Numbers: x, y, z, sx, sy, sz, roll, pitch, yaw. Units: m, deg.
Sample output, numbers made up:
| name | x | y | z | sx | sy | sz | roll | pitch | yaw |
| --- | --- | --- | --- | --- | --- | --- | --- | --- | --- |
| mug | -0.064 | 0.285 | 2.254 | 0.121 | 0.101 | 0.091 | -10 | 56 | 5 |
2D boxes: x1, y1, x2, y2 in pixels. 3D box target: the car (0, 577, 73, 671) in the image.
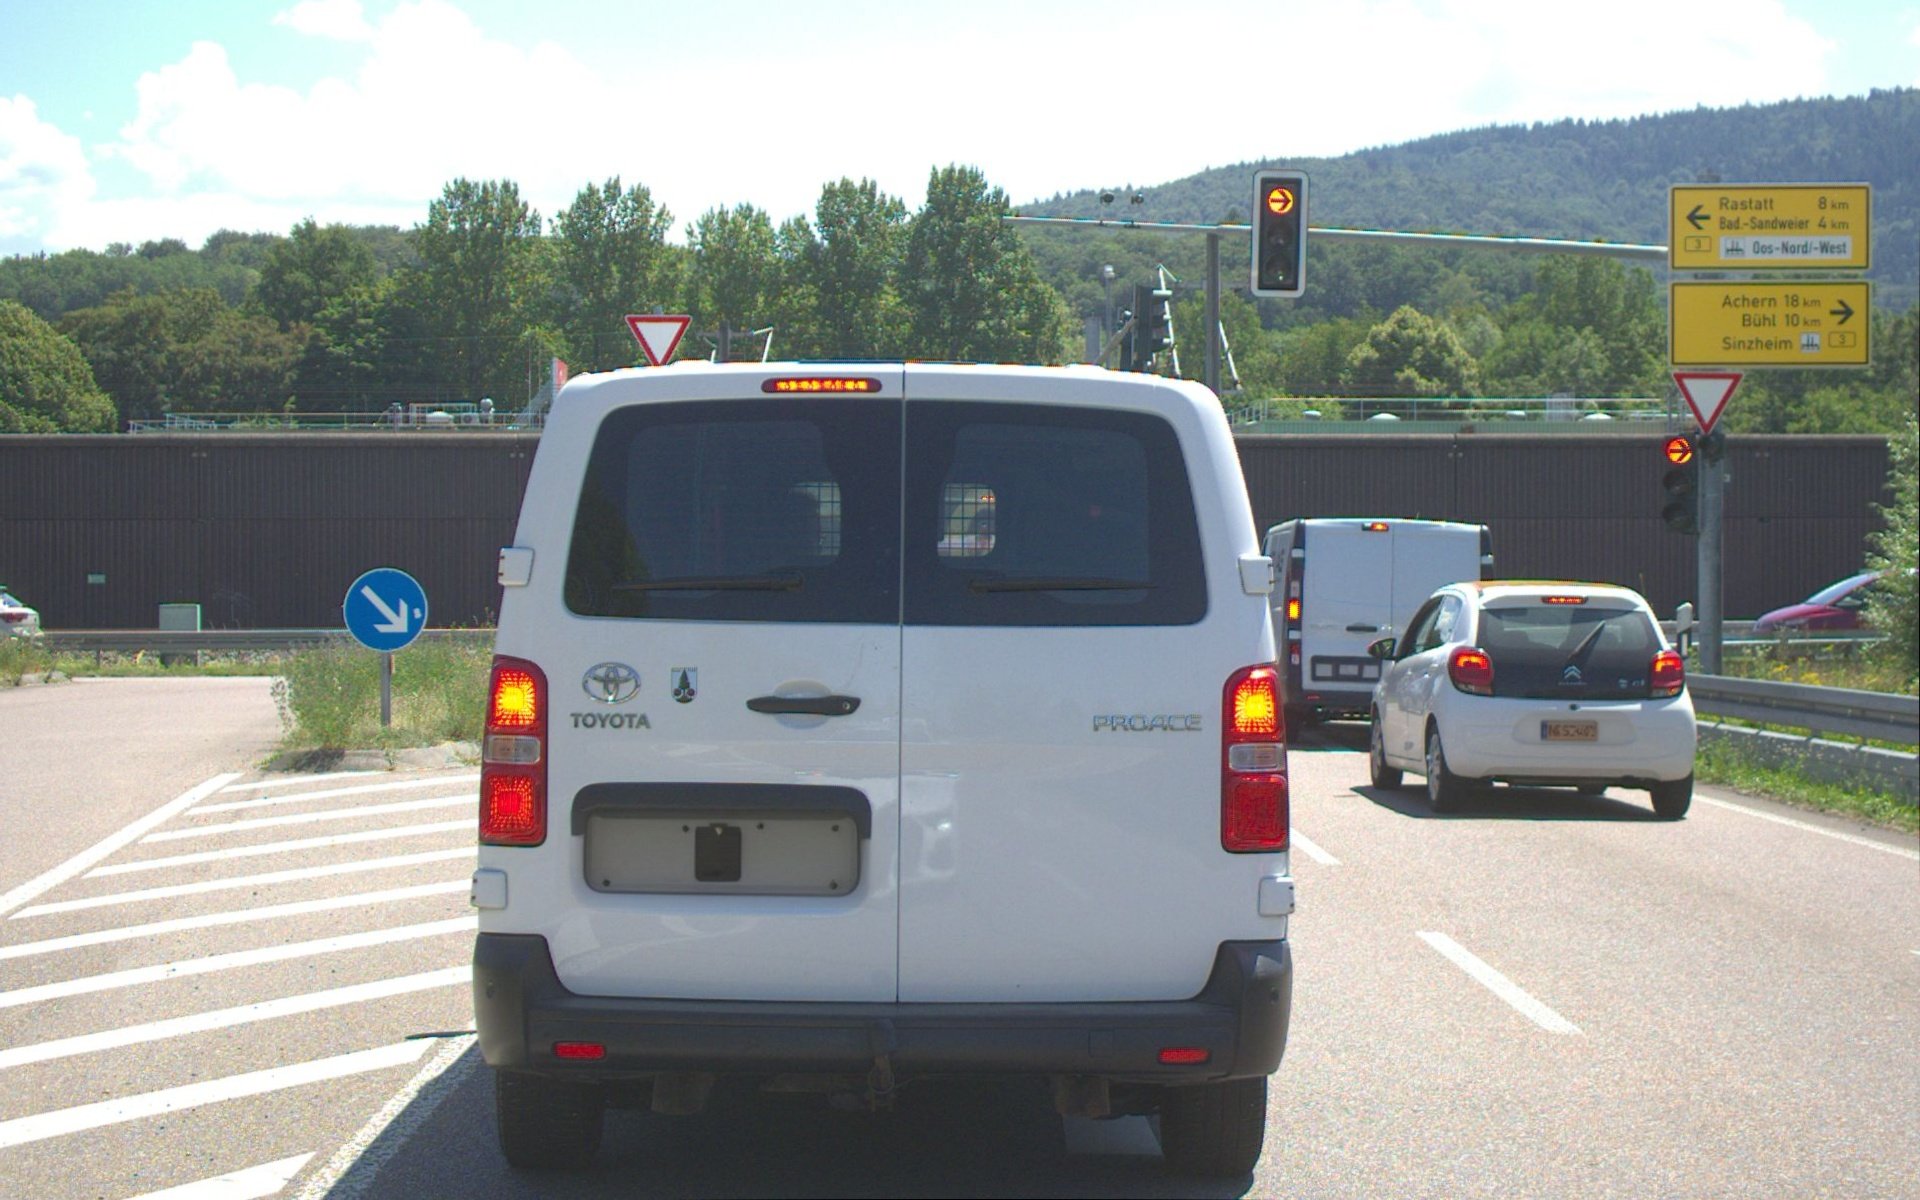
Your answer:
| name | x | y | z | sx | sy | sz | roll | pitch | yaw |
| --- | --- | --- | --- | --- | --- | --- | --- | --- | --- |
| car | -16.513 | 0.356 | 55.352 | 3.986 | 1.480 | 2.000 | 1 | 0 | -4 |

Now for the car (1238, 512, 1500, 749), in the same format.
| name | x | y | z | sx | sy | sz | roll | pitch | yaw |
| --- | --- | --- | --- | --- | --- | --- | --- | --- | --- |
| car | 3.678 | 0.245 | 31.698 | 1.928 | 1.993 | 4.837 | 1 | 0 | 2 |

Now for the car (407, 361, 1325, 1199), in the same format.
| name | x | y | z | sx | sy | sz | roll | pitch | yaw |
| --- | --- | --- | --- | --- | --- | --- | --- | --- | --- |
| car | -0.223 | 0.444 | 9.167 | 1.886 | 1.880 | 4.000 | 1 | 0 | -1 |

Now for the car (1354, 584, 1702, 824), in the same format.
| name | x | y | z | sx | sy | sz | roll | pitch | yaw |
| --- | --- | --- | --- | --- | --- | --- | --- | --- | --- |
| car | 3.634 | 0.623 | 22.514 | 1.656 | 1.426 | 3.366 | 1 | 0 | -1 |

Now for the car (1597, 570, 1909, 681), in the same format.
| name | x | y | z | sx | sy | sz | roll | pitch | yaw |
| --- | --- | --- | --- | --- | --- | --- | --- | --- | --- |
| car | 12.245 | 0.380 | 53.264 | 4.309 | 1.651 | 2.000 | 0 | 0 | -3 |
